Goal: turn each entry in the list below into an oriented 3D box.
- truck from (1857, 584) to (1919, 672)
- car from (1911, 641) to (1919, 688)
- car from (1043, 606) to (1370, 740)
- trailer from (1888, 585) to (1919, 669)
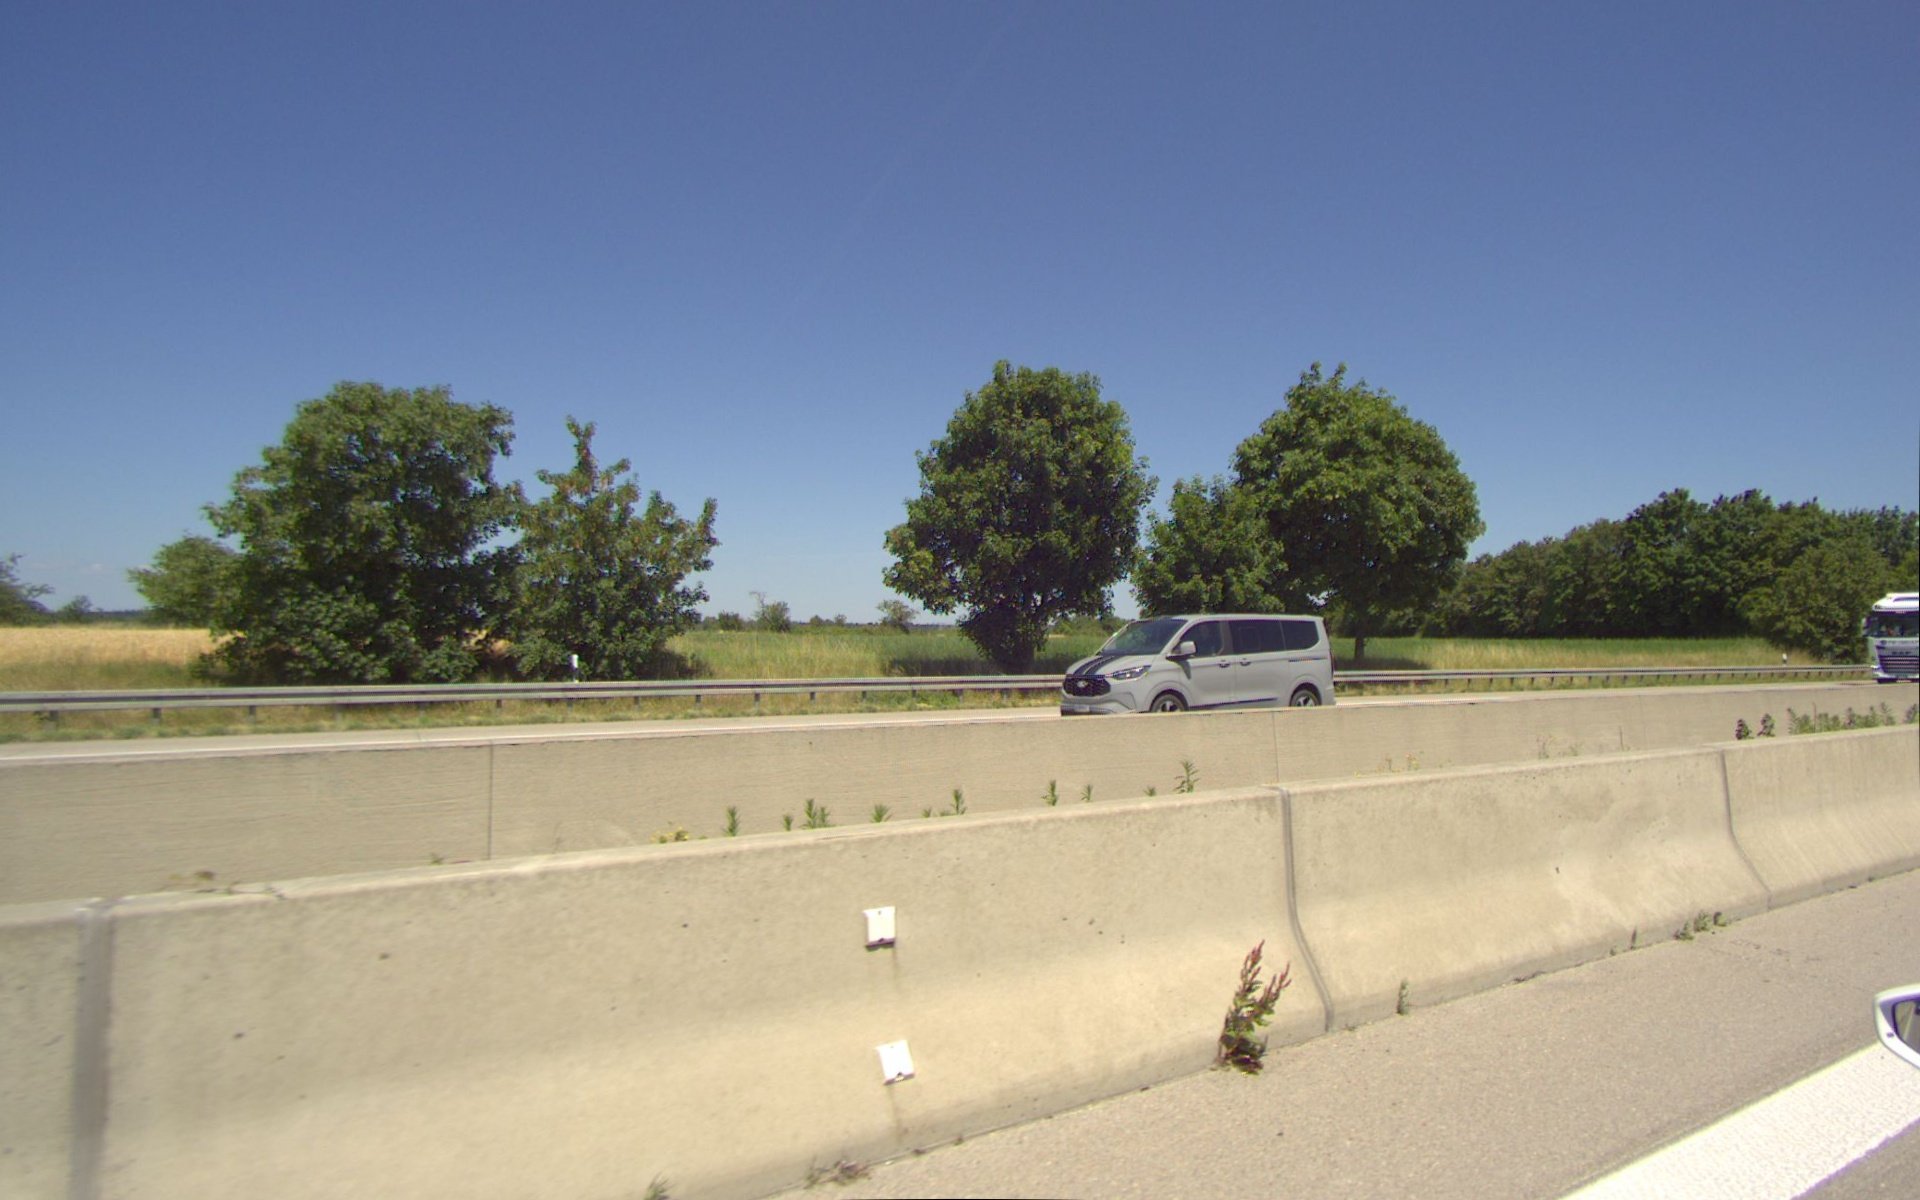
[{"bbox_3d":[41.269,1.191,43.249,4.664,3.637,2.589,1,0,-30],"label":"truck"},{"bbox_3d":[35.772,2.270,35.505,4.631,1.632,1.914,1,-3,-31],"label":"car"},{"bbox_3d":[4.268,1.180,17.041,5.623,1.964,1.984,2,-3,-31],"label":"car"},{"bbox_3d":[47.672,1.303,47.077,12.705,3.679,2.561,1,0,-31],"label":"trailer"}]
